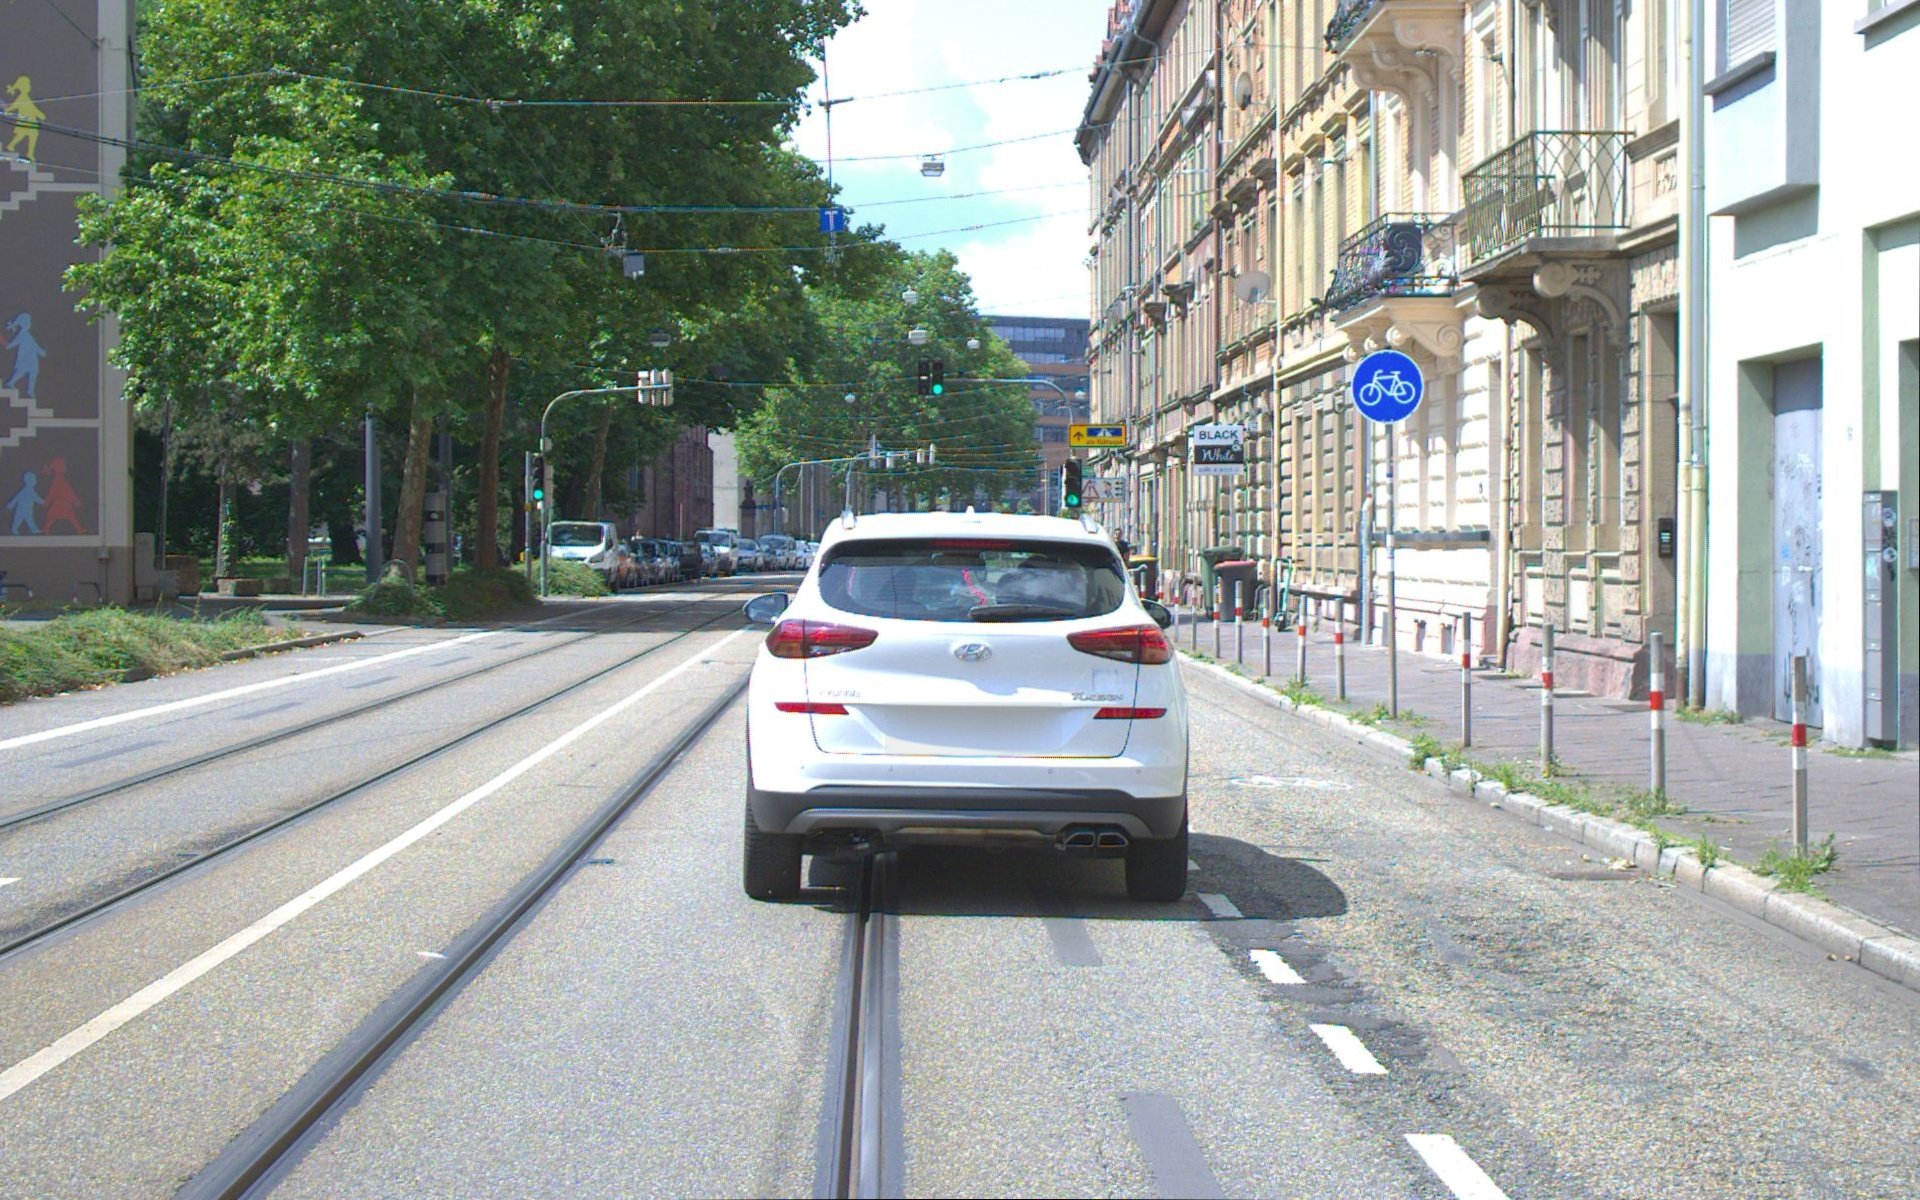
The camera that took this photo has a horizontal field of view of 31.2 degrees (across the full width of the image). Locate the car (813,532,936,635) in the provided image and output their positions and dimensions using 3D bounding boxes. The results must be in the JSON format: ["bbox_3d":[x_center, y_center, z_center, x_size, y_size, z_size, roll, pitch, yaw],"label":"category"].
[{"bbox_3d":[-1.295,-0.276,53.031,1.814,1.519,3.956,0,1,-1],"label":"car"}]

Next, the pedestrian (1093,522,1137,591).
[{"bbox_3d":[3.575,-1.006,79.425,0.938,1.567,1.050,1,1,-1],"label":"pedestrian"}]

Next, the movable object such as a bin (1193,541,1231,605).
[{"bbox_3d":[4.548,-0.487,62.069,0.612,1.139,0.638,1,1,-1],"label":"movable object such as a bin"}]

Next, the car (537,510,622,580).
[{"bbox_3d":[-10.650,-1.557,96.487,1.950,1.888,4.566,1,1,-1],"label":"car"}]

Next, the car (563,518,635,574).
[{"bbox_3d":[-10.844,-1.632,103.564,1.950,1.626,4.001,1,1,-3],"label":"car"}]

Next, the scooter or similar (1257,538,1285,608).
[{"bbox_3d":[5.228,-0.455,57.791,0.395,1.160,0.486,1,1,-1],"label":"scooter or similar"}]

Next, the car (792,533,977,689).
[{"bbox_3d":[-0.745,0.069,35.819,1.814,1.519,4.085,0,1,0],"label":"car"}]

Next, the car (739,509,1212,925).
[{"bbox_3d":[-0.062,0.426,15.671,1.852,1.628,4.181,1,1,-3],"label":"car"}]

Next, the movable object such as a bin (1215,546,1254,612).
[{"bbox_3d":[4.837,-0.368,60.643,0.612,1.139,0.638,1,1,-1],"label":"movable object such as a bin"}]

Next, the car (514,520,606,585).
[{"bbox_3d":[-10.449,-1.267,90.104,1.950,1.626,4.576,1,1,-1],"label":"car"}]

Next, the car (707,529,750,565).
[{"bbox_3d":[-10.807,-2.492,160.539,1.950,1.626,4.001,1,1,-3],"label":"car"}]

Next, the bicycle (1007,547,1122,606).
[{"bbox_3d":[2.095,-0.481,69.010,2.267,1.140,0.585,1,1,-3],"label":"bicycle"}]
